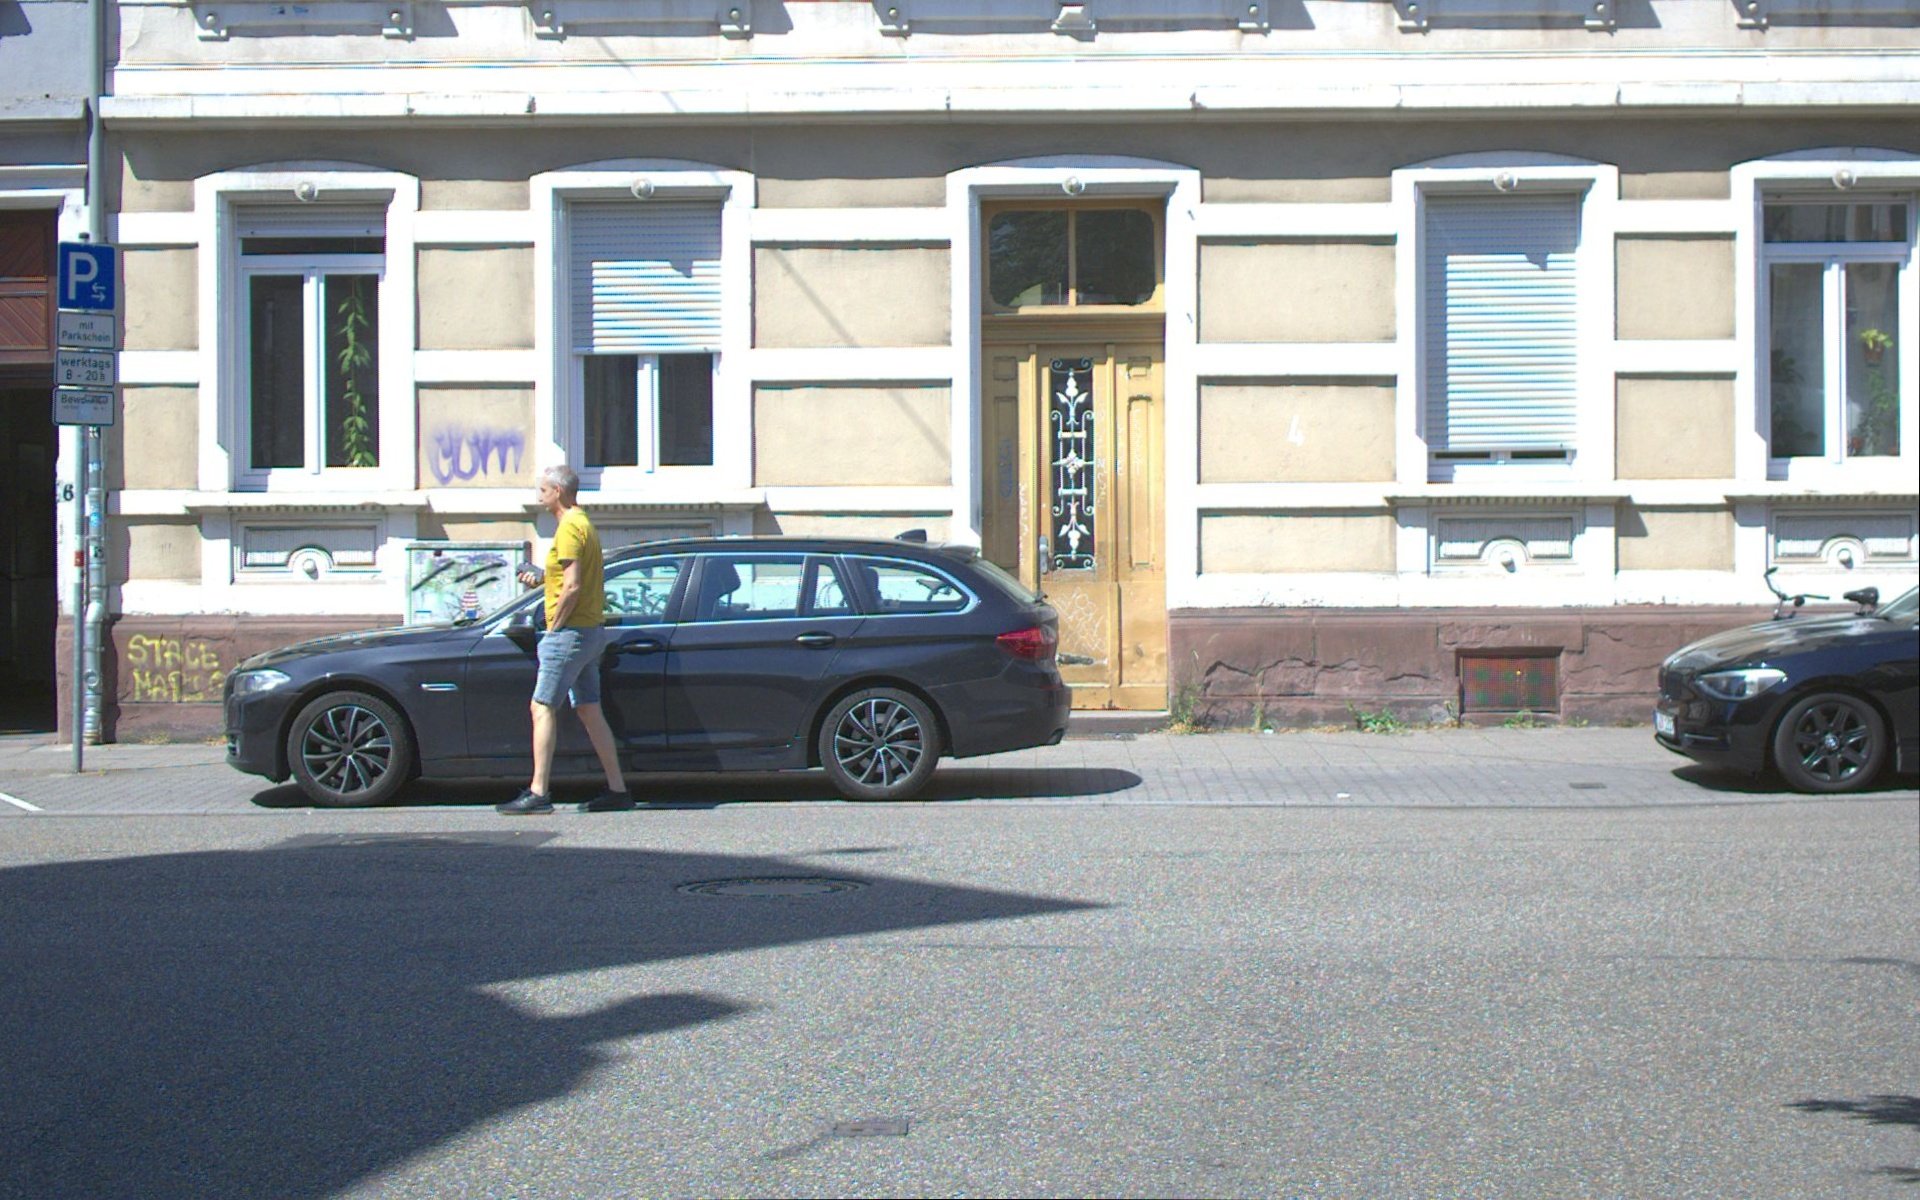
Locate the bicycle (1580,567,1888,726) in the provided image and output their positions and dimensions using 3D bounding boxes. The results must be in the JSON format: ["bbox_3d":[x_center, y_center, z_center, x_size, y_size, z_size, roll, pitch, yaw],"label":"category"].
[{"bbox_3d":[5.272,0.313,23.454,2.004,1.018,0.424,-1,4,-1],"label":"bicycle"}]

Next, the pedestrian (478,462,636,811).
[{"bbox_3d":[-2.179,0.191,18.660,0.724,1.847,0.685,-1,1,2],"label":"pedestrian"}]

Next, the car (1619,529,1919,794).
[{"bbox_3d":[6.125,0.300,19.875,4.294,1.365,1.807,-1,3,1],"label":"car"}]

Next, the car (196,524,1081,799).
[{"bbox_3d":[-1.758,0.325,19.944,4.859,1.432,2.000,-1,1,1],"label":"car"}]
